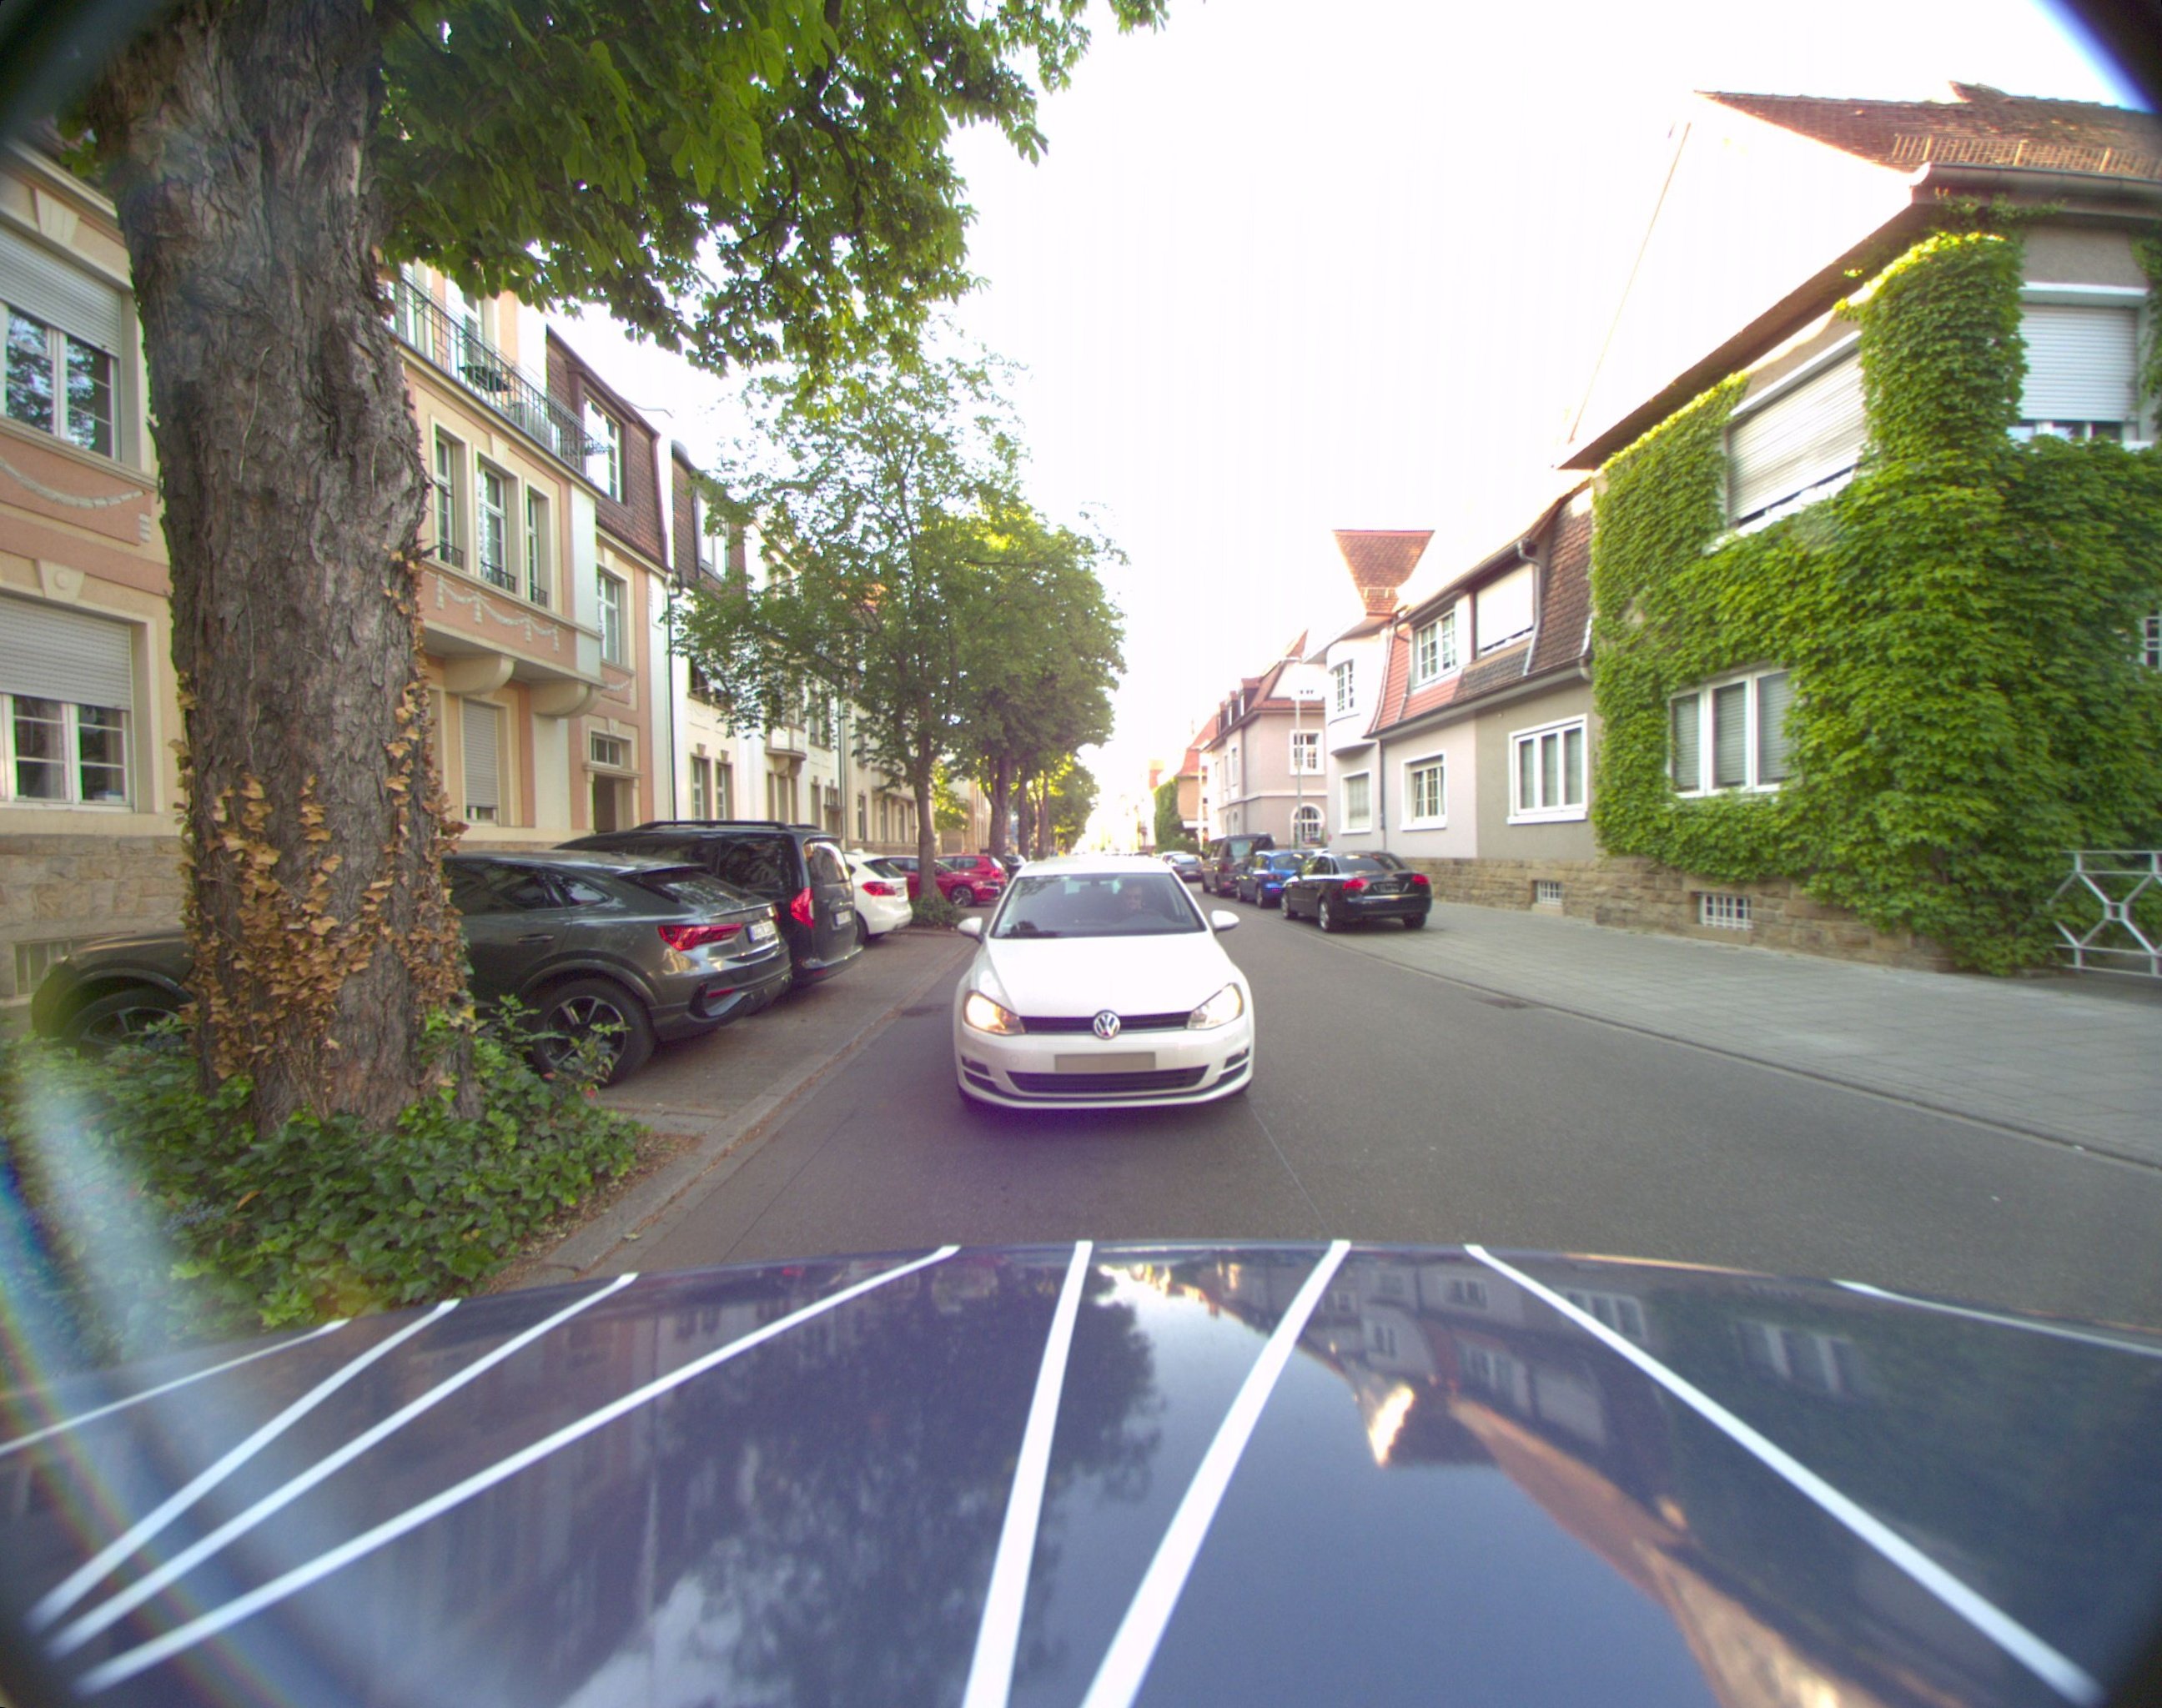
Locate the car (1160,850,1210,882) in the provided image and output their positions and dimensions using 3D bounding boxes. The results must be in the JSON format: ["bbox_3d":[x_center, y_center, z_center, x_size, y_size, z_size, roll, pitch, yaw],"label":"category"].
[{"bbox_3d":[4.978,0.545,36.810,1.719,1.363,4.334,-3,0,0],"label":"car"}]

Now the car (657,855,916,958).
[{"bbox_3d":[-4.643,0.813,12.359,3.623,1.541,1.537,1,1,-4],"label":"car"}]

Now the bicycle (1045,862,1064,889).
[{"bbox_3d":[-1.180,0.939,34.226,0.744,1.111,2.013,-2,0,1],"label":"bicycle"}]

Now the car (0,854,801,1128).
[{"bbox_3d":[-4.373,0.832,5.409,4.173,1.583,1.594,1,1,-4],"label":"car"}]

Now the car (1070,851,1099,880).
[{"bbox_3d":[0.207,0.625,42.478,1.560,1.546,3.738,1,0,1],"label":"car"}]

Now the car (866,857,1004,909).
[{"bbox_3d":[-4.118,0.799,21.794,3.622,1.395,1.537,1,1,0],"label":"car"}]

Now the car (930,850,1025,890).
[{"bbox_3d":[-4.175,0.626,30.940,3.622,1.555,1.537,0,1,0],"label":"car"}]

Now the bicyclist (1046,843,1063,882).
[{"bbox_3d":[-1.199,0.378,34.502,0.648,1.765,0.830,-2,1,1],"label":"bicyclist"}]

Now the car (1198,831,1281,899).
[{"bbox_3d":[5.149,0.294,25.232,1.719,1.961,4.310,-4,1,0],"label":"car"}]

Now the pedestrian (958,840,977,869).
[{"bbox_3d":[-8.038,0.055,53.680,1.189,2.002,0.931,1,1,-1],"label":"pedestrian"}]

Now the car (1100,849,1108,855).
[{"bbox_3d":[5.146,-0.464,173.336,1.643,1.461,3.689,-3,1,0],"label":"car"}]

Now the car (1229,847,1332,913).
[{"bbox_3d":[5.224,0.624,20.418,1.611,1.455,4.023,-4,1,0],"label":"car"}]

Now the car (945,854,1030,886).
[{"bbox_3d":[-4.143,0.712,34.148,3.622,1.395,1.537,0,1,0],"label":"car"}]

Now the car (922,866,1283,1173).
[{"bbox_3d":[0.073,0.877,5.910,1.799,1.420,4.023,-2,0,-1],"label":"car"}]

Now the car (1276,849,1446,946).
[{"bbox_3d":[5.099,0.705,14.447,1.751,1.421,4.023,-4,1,1],"label":"car"}]

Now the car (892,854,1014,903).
[{"bbox_3d":[-4.047,0.755,24.336,3.622,1.456,1.537,1,1,0],"label":"car"}]

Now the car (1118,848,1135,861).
[{"bbox_3d":[5.376,0.058,90.434,1.643,1.461,3.689,-3,1,-1],"label":"car"}]

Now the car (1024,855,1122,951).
[{"bbox_3d":[-0.108,0.822,14.672,1.600,1.546,4.000,1,0,1],"label":"car"}]

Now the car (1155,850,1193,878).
[{"bbox_3d":[5.136,0.530,42.171,1.541,1.363,3.945,-3,0,0],"label":"car"}]

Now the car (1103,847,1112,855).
[{"bbox_3d":[5.230,-0.563,149.370,1.643,1.461,3.689,-3,1,0],"label":"car"}]

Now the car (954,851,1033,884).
[{"bbox_3d":[-4.218,0.630,36.876,3.622,1.555,1.537,0,1,0],"label":"car"}]

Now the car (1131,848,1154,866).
[{"bbox_3d":[5.490,0.224,68.248,1.643,1.461,3.945,-3,0,0],"label":"car"}]

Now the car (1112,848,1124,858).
[{"bbox_3d":[5.672,-0.204,115.927,1.643,1.461,3.689,-3,1,0],"label":"car"}]

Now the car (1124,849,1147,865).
[{"bbox_3d":[5.406,0.318,75.423,1.643,1.461,3.688,-3,1,-4],"label":"car"}]

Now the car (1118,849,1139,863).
[{"bbox_3d":[5.057,0.194,80.952,1.643,1.461,3.688,-3,1,-4],"label":"car"}]

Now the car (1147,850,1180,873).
[{"bbox_3d":[5.440,0.451,50.612,1.719,1.363,3.945,-3,0,0],"label":"car"}]

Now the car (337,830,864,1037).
[{"bbox_3d":[-4.464,0.704,7.589,4.173,1.816,1.594,1,1,-4],"label":"car"}]

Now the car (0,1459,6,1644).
[{"bbox_3d":[-4.667,0.788,0.511,4.835,1.814,1.880,1,1,-4],"label":"car"}]
